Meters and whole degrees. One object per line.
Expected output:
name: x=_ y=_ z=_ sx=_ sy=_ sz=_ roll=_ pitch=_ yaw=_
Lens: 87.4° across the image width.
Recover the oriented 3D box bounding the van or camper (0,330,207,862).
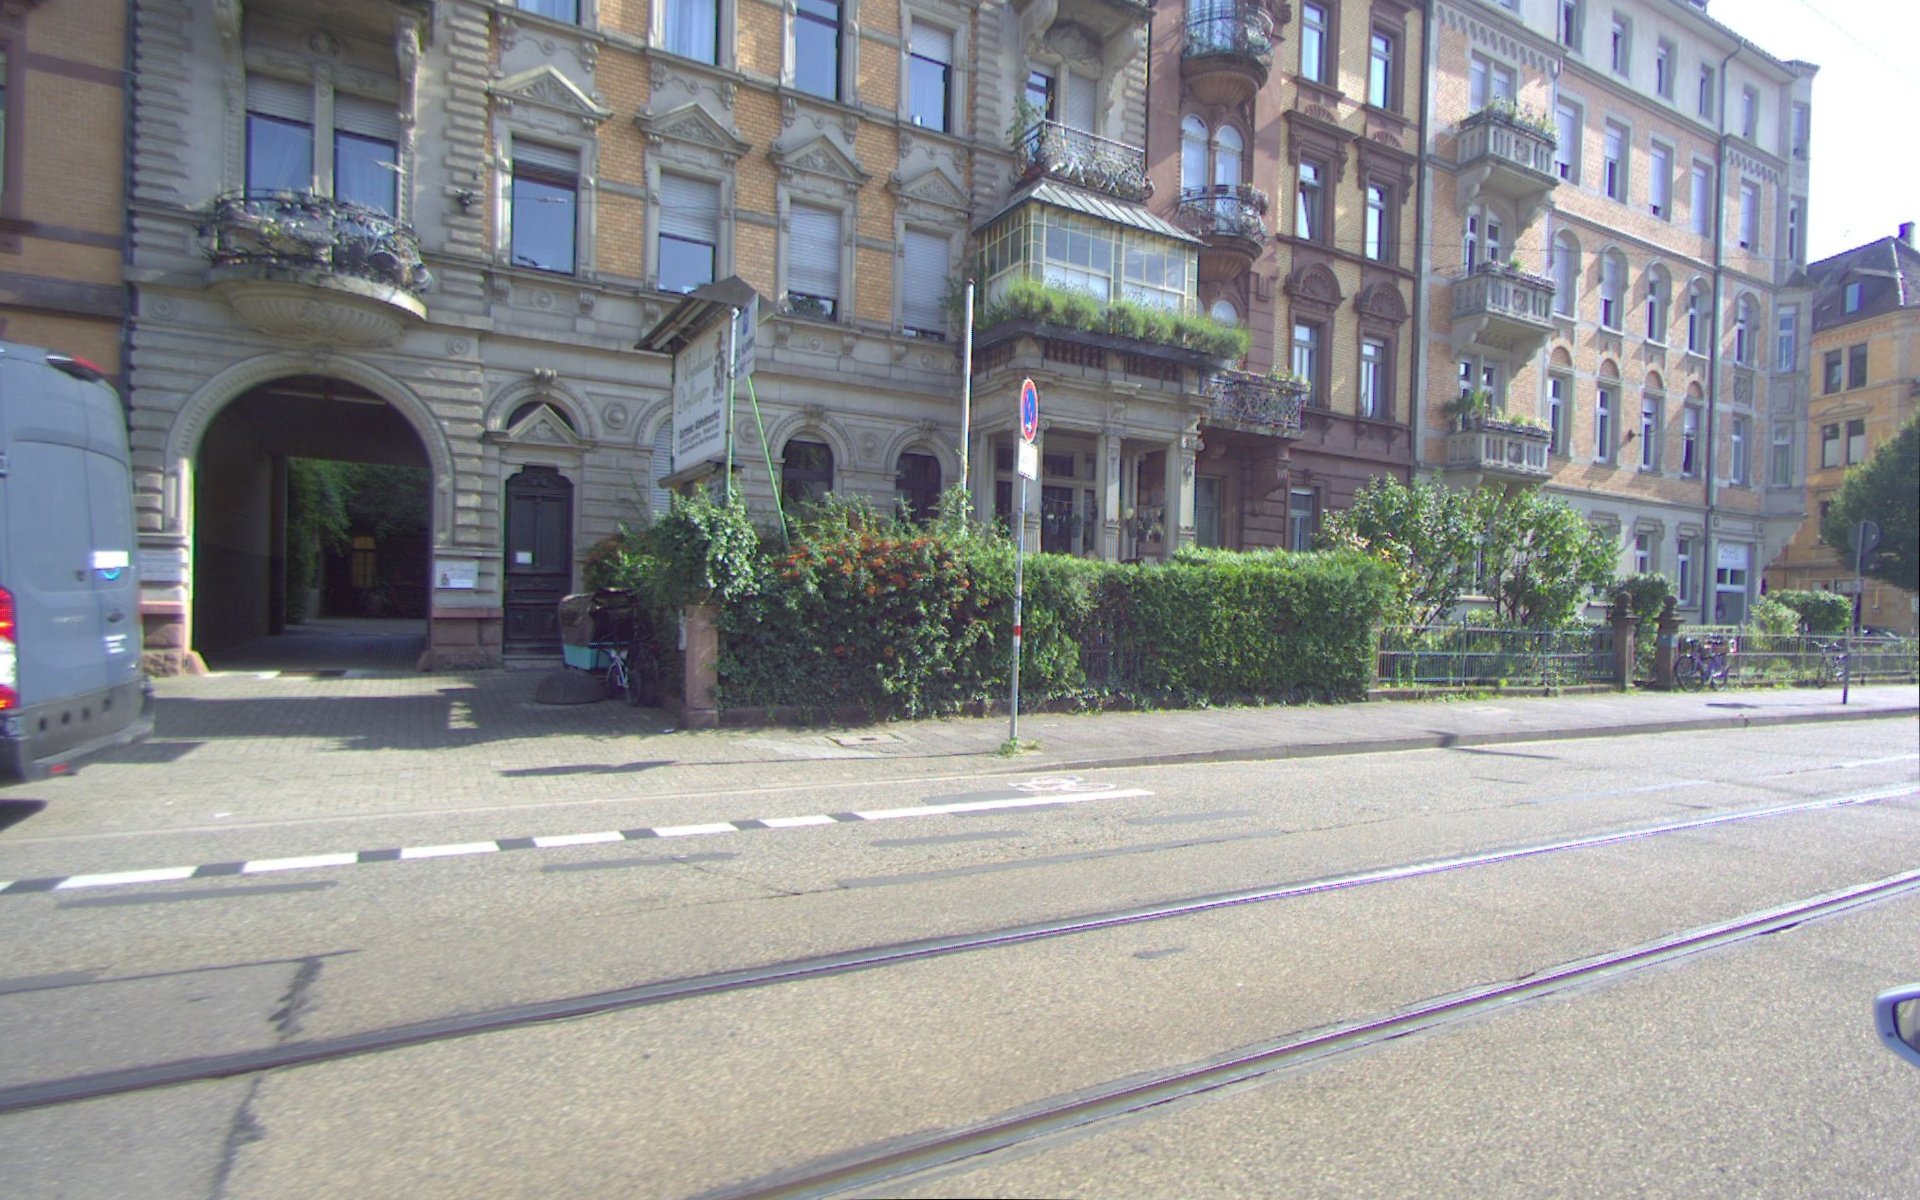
van or camper: x=-7.726 y=-0.114 z=4.946 sx=6.002 sy=2.679 sz=2.046 roll=2 pitch=-1 yaw=-23

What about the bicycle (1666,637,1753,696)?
bicycle: x=15.061 y=1.322 z=20.166 sx=1.816 sy=1.072 sz=0.604 roll=2 pitch=4 yaw=-28

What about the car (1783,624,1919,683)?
car: x=27.931 y=1.622 z=30.466 sx=2.040 sy=1.563 sz=4.117 roll=3 pitch=0 yaw=-29

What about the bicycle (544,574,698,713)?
bicycle: x=-4.191 y=0.447 z=12.224 sx=0.988 sy=1.474 sz=2.855 roll=1 pitch=1 yaw=-35

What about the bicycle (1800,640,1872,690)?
bicycle: x=20.142 y=1.488 z=23.089 sx=1.816 sy=1.072 sz=0.542 roll=2 pitch=4 yaw=-28
